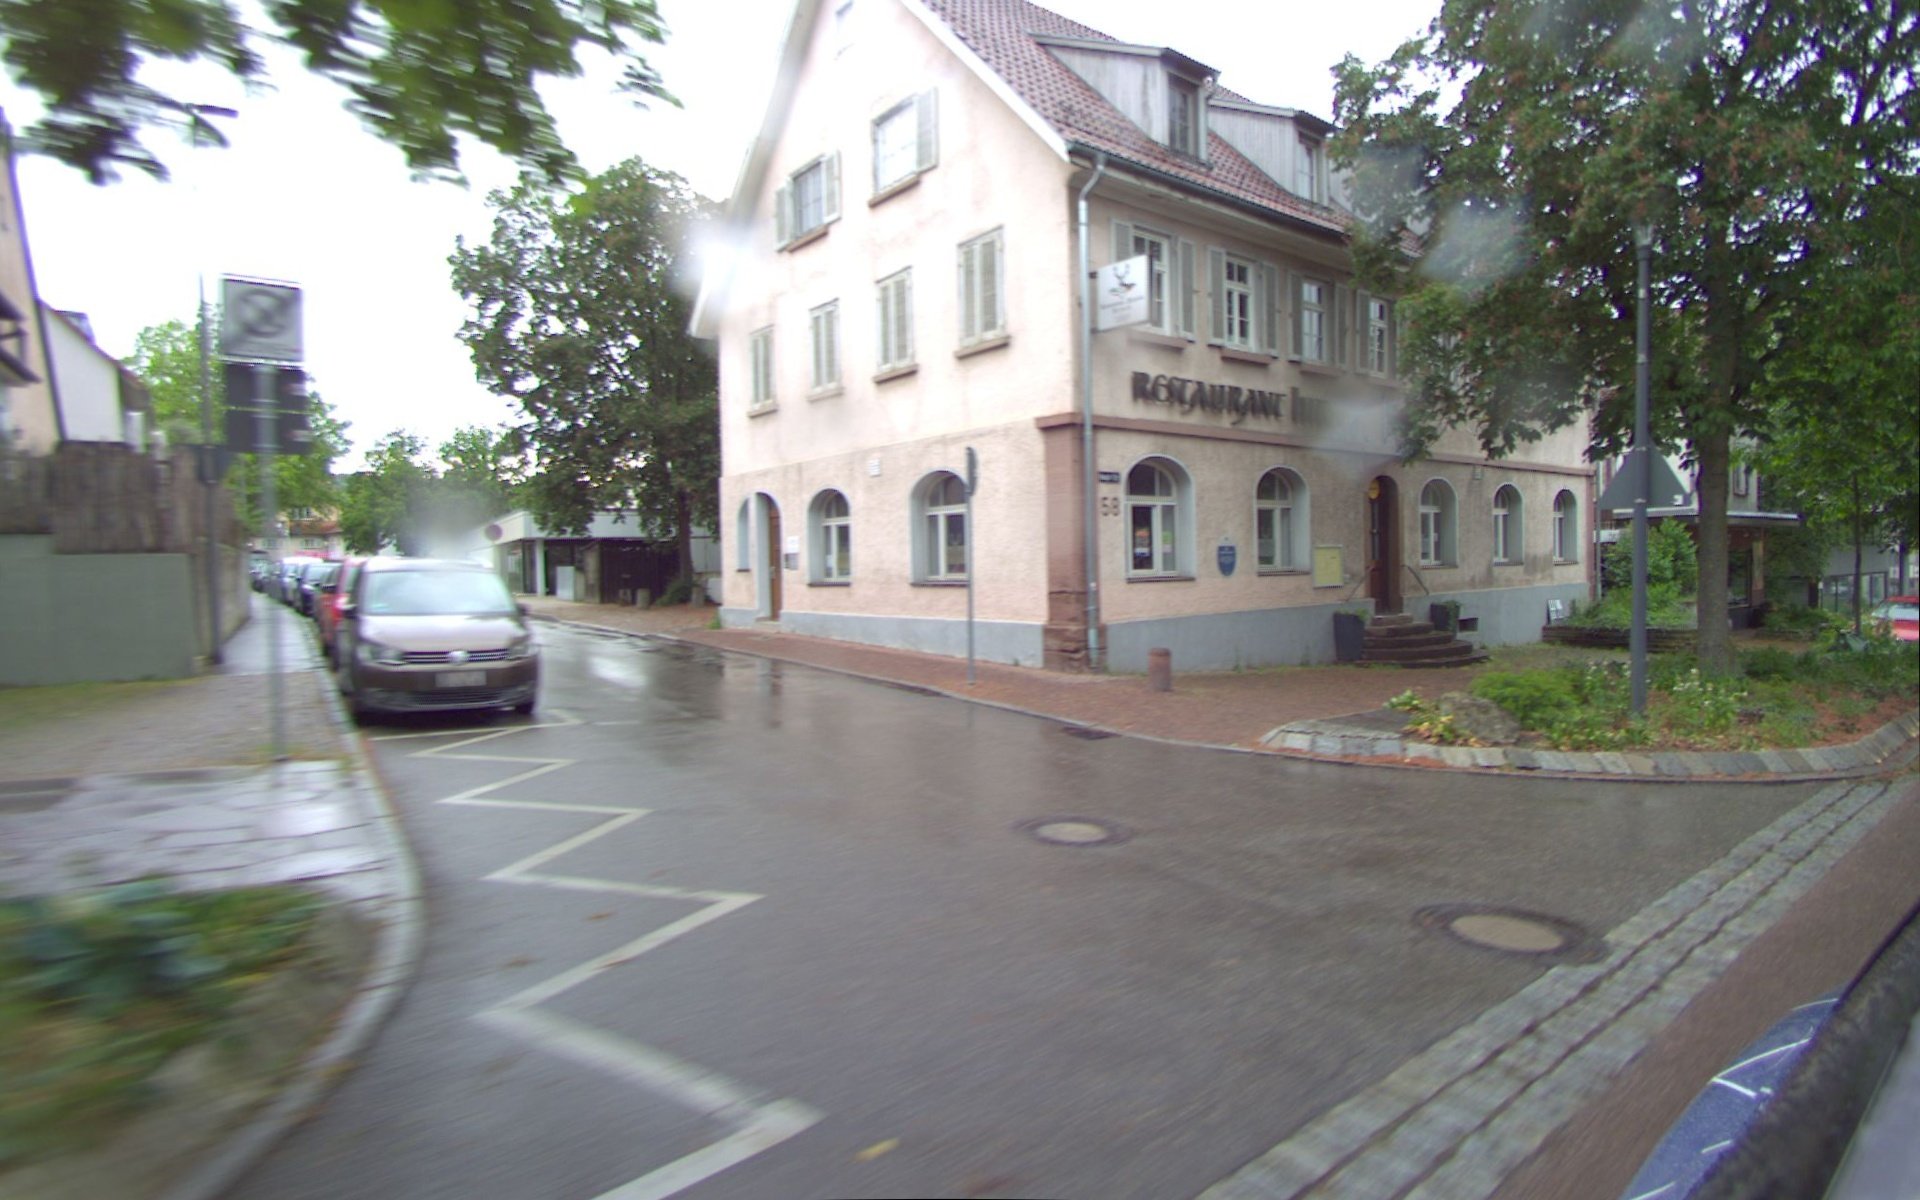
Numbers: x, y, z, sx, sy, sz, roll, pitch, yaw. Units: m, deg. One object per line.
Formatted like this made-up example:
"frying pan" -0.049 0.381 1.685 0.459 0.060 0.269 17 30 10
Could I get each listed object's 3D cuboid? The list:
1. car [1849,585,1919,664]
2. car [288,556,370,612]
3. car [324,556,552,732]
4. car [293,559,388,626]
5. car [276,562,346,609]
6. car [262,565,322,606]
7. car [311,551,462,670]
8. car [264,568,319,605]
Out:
"car" 20.110 0.469 20.835 4.735 1.487 1.897 0 1 -39
"car" -18.709 -0.487 29.923 1.805 1.514 4.194 0 1 -36
"car" -6.029 0.320 11.427 1.805 1.603 4.196 0 2 -34
"car" -15.642 -0.258 25.456 1.805 1.513 4.196 -2 3 -34
"car" -22.372 -0.532 34.838 1.805 1.514 4.194 0 1 -36
"car" -26.143 -0.568 39.563 1.805 1.514 4.194 0 1 -36
"car" -9.226 0.072 16.128 1.673 1.641 4.195 0 2 -36
"car" -28.654 -0.599 43.331 1.805 1.514 4.194 0 1 -36
